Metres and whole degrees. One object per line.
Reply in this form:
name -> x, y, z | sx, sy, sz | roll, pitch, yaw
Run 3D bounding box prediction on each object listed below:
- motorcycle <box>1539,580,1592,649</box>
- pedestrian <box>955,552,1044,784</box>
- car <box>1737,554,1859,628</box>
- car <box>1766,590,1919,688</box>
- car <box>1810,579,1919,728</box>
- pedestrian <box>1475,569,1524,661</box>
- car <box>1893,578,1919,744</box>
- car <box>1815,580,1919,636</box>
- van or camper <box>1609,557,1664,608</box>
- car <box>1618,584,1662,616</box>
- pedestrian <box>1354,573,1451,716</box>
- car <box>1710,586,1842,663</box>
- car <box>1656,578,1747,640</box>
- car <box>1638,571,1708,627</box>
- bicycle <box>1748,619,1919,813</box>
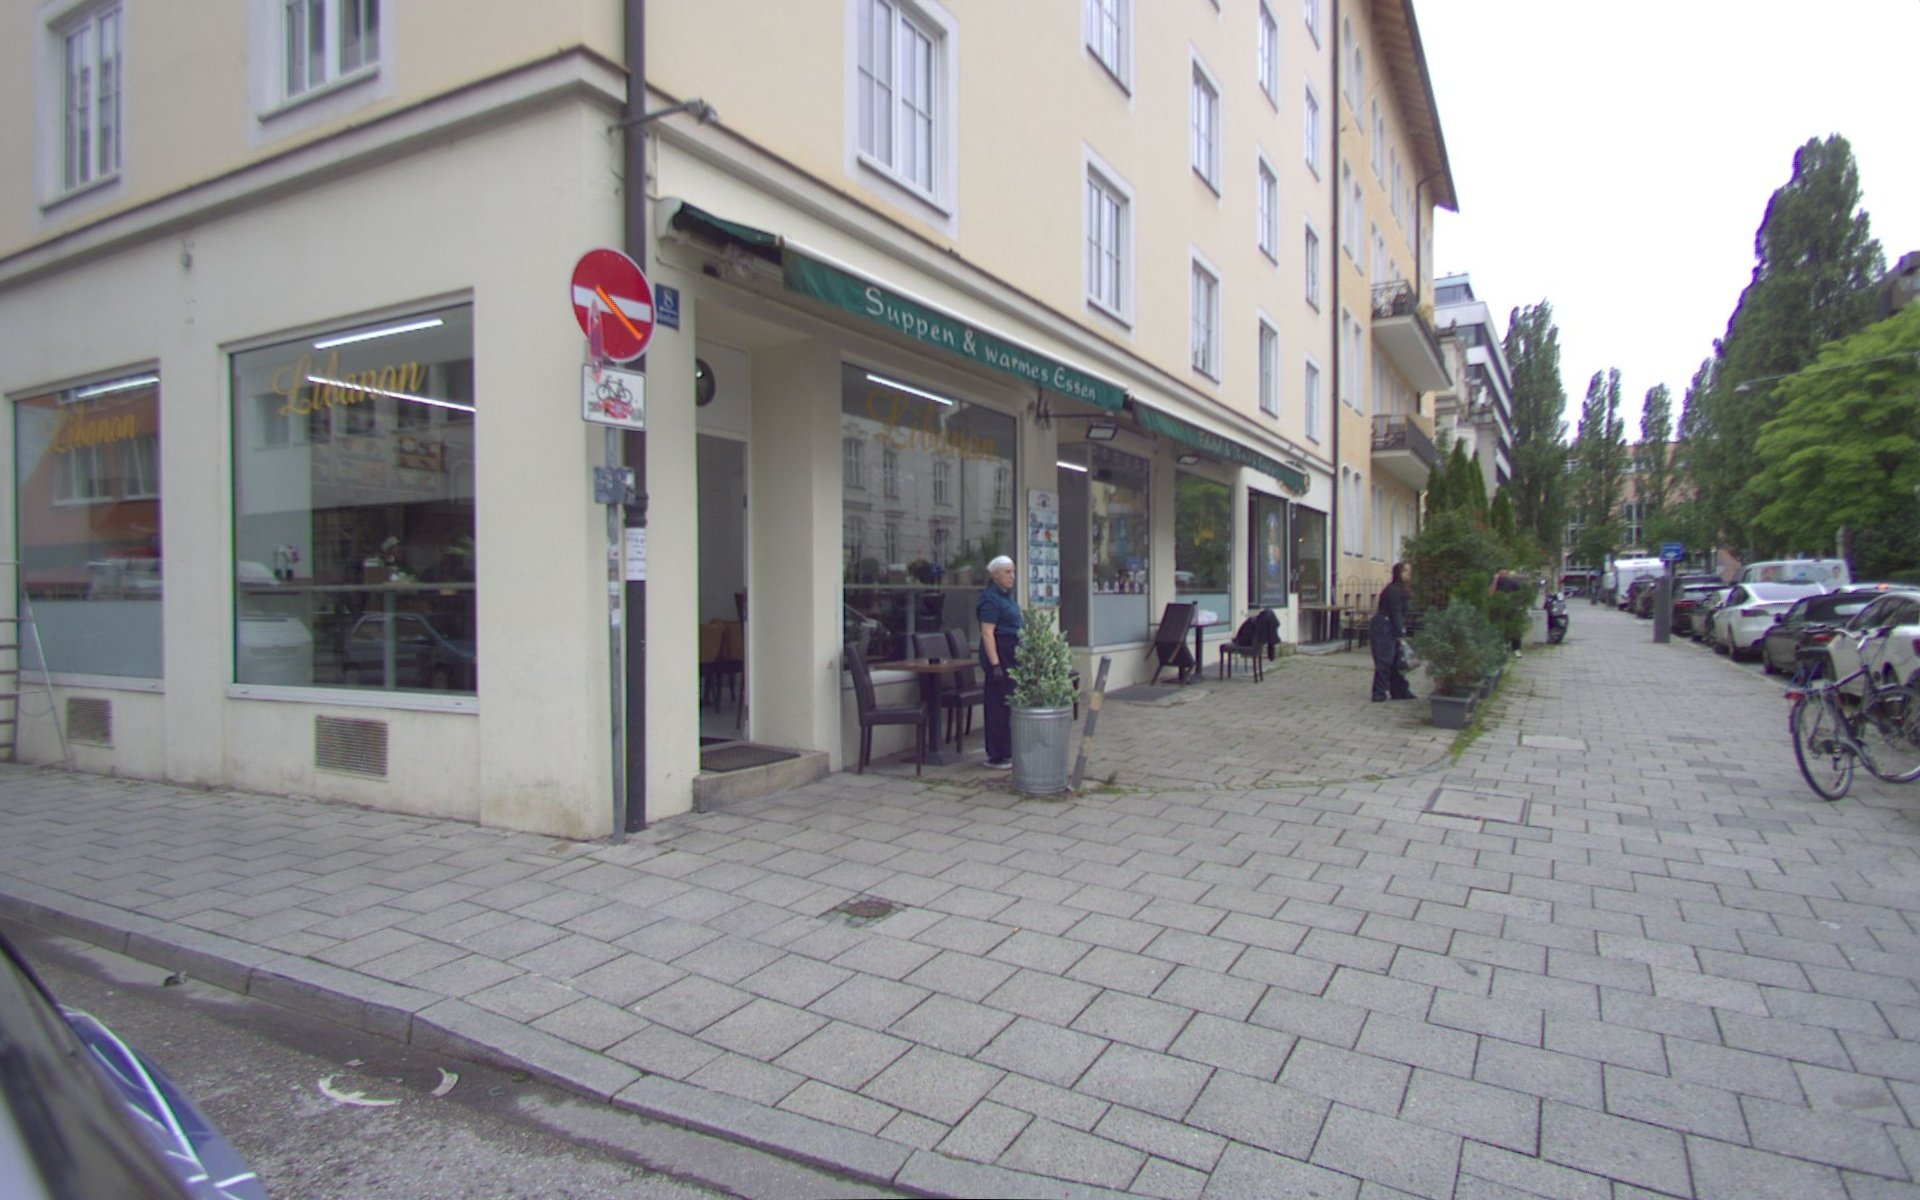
motorcycle -> 13.731, 0.344, 23.013 | 0.960, 1.473, 2.860 | -1, -2, 30
pedestrian -> 0.308, 0.487, 7.598 | 0.533, 1.654, 0.603 | -1, 0, 15
car -> 29.937, -0.298, 36.336 | 2.150, 2.494, 4.567 | -1, 0, 24
car -> 13.935, 0.538, 15.845 | 1.588, 1.351, 3.772 | -1, 0, 32
car -> 11.438, 0.507, 11.622 | 1.676, 1.519, 4.223 | -3, -1, 29
pedestrian -> 10.120, 0.270, 18.976 | 0.731, 1.669, 0.783 | 2, 1, 31
car -> 8.781, 0.524, 7.343 | 1.895, 1.527, 4.305 | -5, -2, 29
car -> 23.184, 0.184, 25.847 | 1.600, 1.340, 2.921 | -1, 0, 31
van or camper -> 41.074, -1.010, 61.584 | 2.419, 2.957, 5.316 | -1, 0, 30
car -> 37.490, 0.003, 55.863 | 1.701, 1.659, 3.959 | -1, 0, 30
pedestrian -> 5.125, 0.479, 11.729 | 0.851, 1.563, 0.740 | 2, 2, 37
car -> 16.944, 0.462, 21.182 | 1.614, 1.453, 3.957 | -1, 0, 31
car -> 21.465, 0.245, 29.429 | 1.701, 1.659, 3.959 | -1, 0, 30
car -> 25.587, -0.034, 36.430 | 1.701, 1.874, 3.959 | -1, 0, 30
bicycle -> 6.379, 0.742, 6.997 | 1.803, 1.178, 0.611 | 0, 1, -21
